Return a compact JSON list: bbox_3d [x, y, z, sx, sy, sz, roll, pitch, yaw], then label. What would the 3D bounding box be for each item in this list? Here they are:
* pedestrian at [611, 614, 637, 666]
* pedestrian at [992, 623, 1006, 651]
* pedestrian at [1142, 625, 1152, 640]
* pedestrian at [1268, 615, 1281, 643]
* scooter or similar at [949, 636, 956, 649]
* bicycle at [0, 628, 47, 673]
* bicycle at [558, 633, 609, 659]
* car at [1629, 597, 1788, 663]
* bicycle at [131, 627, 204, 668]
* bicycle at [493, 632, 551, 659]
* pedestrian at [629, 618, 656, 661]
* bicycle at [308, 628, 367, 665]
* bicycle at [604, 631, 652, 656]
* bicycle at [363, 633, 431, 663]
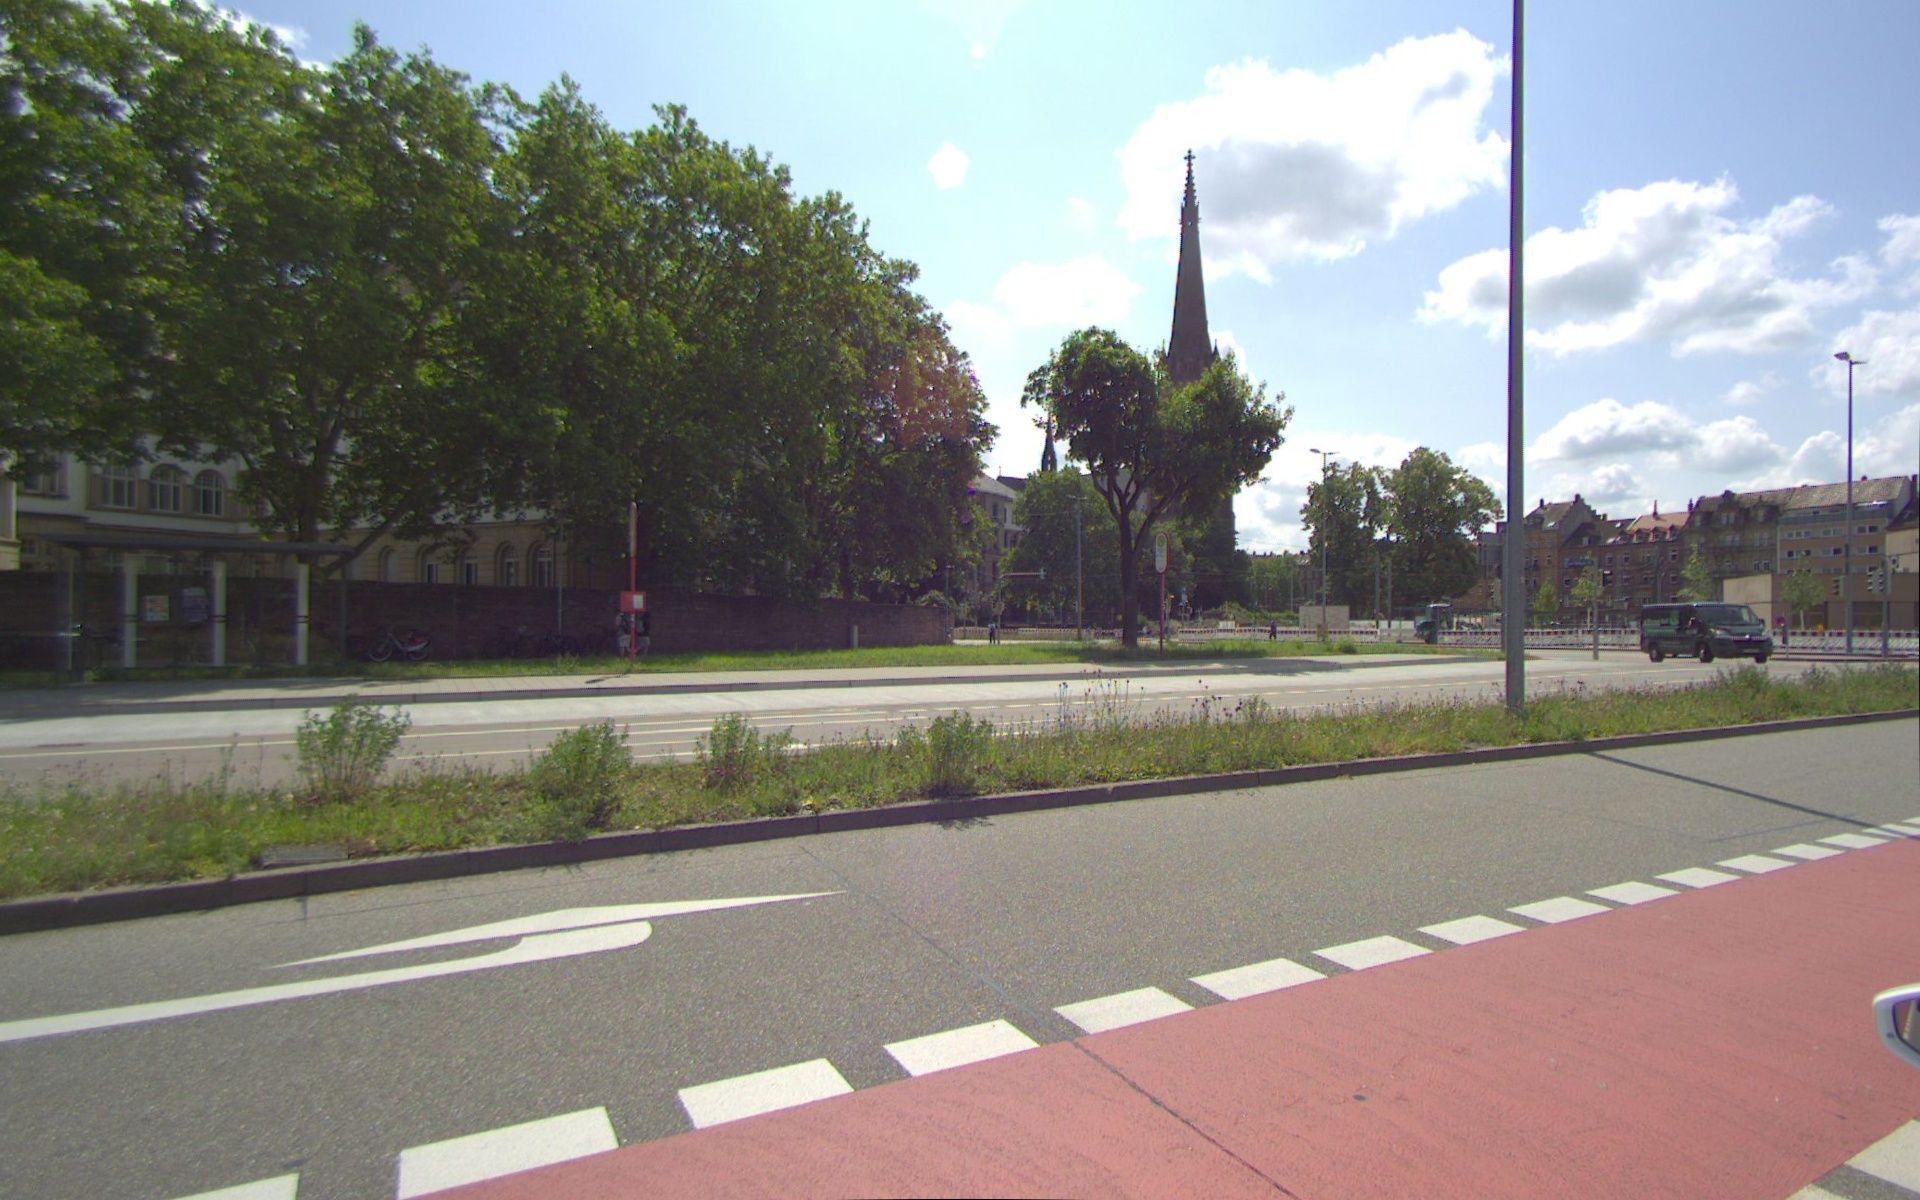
[{"bbox_3d":[-9.782,1.170,29.255,0.627,1.492,0.506,1,-1,-32],"label":"pedestrian"},{"bbox_3d":[2.913,2.766,74.739,0.713,2.040,0.721,1,-1,-32],"label":"pedestrian"},{"bbox_3d":[20.658,3.551,110.860,0.842,1.685,0.751,0,-1,29],"label":"pedestrian"},{"bbox_3d":[23.299,2.122,74.415,0.625,2.040,0.643,1,-1,-32],"label":"pedestrian"},{"bbox_3d":[-0.438,2.475,58.980,0.117,0.721,1.005,0,-1,17],"label":"scooter or similar"},{"bbox_3d":[-21.263,1.126,22.325,0.260,0.977,1.391,0,-1,36],"label":"bicycle"},{"bbox_3d":[-12.784,1.549,34.154,0.324,0.828,1.743,0,-1,36],"label":"bicycle"},{"bbox_3d":[27.096,1.144,36.648,2.112,2.204,5.021,-1,-3,2],"label":"car"},{"bbox_3d":[-19.423,1.155,24.645,0.260,0.977,1.391,0,-1,36],"label":"bicycle"},{"bbox_3d":[-14.024,1.460,32.198,0.378,0.828,1.743,0,-1,36],"label":"bicycle"},{"bbox_3d":[-10.800,1.333,34.147,0.720,1.413,0.714,1,-1,-35],"label":"pedestrian"},{"bbox_3d":[-17.164,1.263,27.716,0.260,0.977,1.391,0,-1,36],"label":"bicycle"},{"bbox_3d":[-11.779,1.533,35.680,0.324,0.828,1.743,0,-1,36],"label":"bicycle"},{"bbox_3d":[-16.244,1.378,29.013,0.324,0.828,1.743,0,-1,36],"label":"bicycle"}]
